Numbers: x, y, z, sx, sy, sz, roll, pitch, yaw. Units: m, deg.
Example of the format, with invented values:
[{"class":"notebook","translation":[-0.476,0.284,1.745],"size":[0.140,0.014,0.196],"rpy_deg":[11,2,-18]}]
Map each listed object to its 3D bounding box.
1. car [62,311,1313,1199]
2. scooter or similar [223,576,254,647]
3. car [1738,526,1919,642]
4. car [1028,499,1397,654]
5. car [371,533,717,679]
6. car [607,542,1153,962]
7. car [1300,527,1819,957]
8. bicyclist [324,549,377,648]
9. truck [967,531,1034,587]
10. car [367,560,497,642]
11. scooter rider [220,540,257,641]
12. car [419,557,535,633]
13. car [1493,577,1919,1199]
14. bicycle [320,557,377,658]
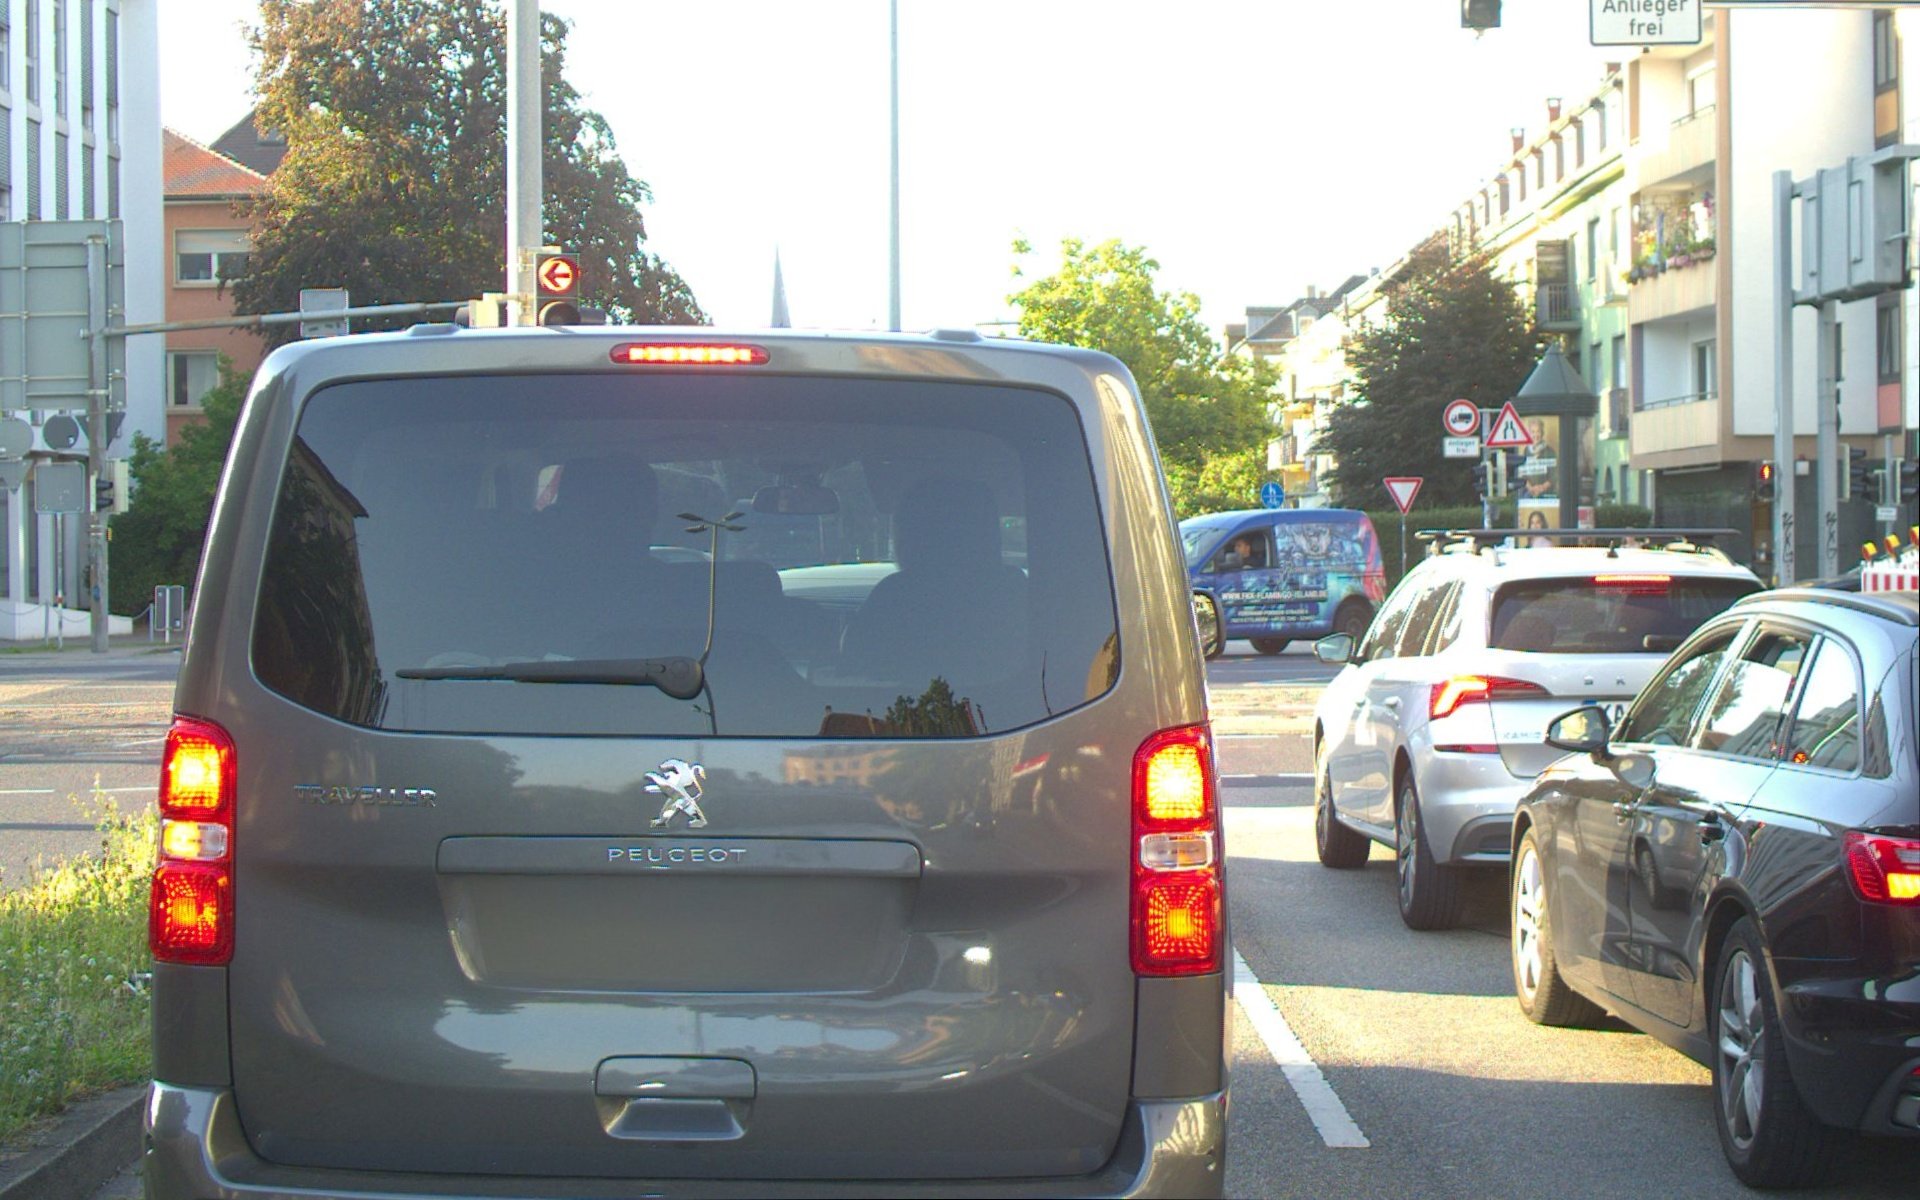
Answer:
[{"class":"car","translation":[-0.452,0.462,7.568],"size":[1.907,1.857,4.527],"rpy_deg":[1,1,-1]},{"class":"scooter or similar","translation":[-12.259,0.184,58.424],"size":[0.285,1.184,1.169],"rpy_deg":[0,1,-1]},{"class":"car","translation":[12.425,-0.243,44.813],"size":[4.227,1.437,1.703],"rpy_deg":[-1,1,-22]},{"class":"car","translation":[3.141,-0.319,42.523],"size":[4.216,1.811,2.000],"rpy_deg":[-1,1,-34]},{"class":"car","translation":[-4.267,0.041,35.788],"size":[1.694,1.383,3.680],"rpy_deg":[-1,1,29]},{"class":"car","translation":[-0.315,0.525,14.627],"size":[1.993,1.525,4.000],"rpy_deg":[0,1,-1]},{"class":"car","translation":[2.465,0.509,14.937],"size":[1.528,1.608,3.745],"rpy_deg":[1,1,-1]},{"class":"bicyclist","translation":[-12.538,-0.026,70.741],"size":[0.834,2.007,1.064],"rpy_deg":[1,0,1]},{"class":"truck","translation":[1.544,-1.566,129.634],"size":[2.128,2.079,4.630],"rpy_deg":[-1,1,6]},{"class":"car","translation":[-9.563,-0.007,62.505],"size":[1.856,1.415,4.001],"rpy_deg":[-1,1,-2]},{"class":"scooter rider","translation":[-12.254,-0.168,58.421],"size":[0.481,1.691,0.636],"rpy_deg":[0,1,-1]},{"class":"car","translation":[-9.511,-0.117,68.003],"size":[1.856,1.415,4.001],"rpy_deg":[-1,1,-2]},{"class":"car","translation":[2.631,0.682,9.209],"size":[1.681,1.416,4.214],"rpy_deg":[1,1,-1]},{"class":"bicycle","translation":[-12.546,0.140,70.578],"size":[0.715,2.007,2.564],"rpy_deg":[0,1,-1]}]
